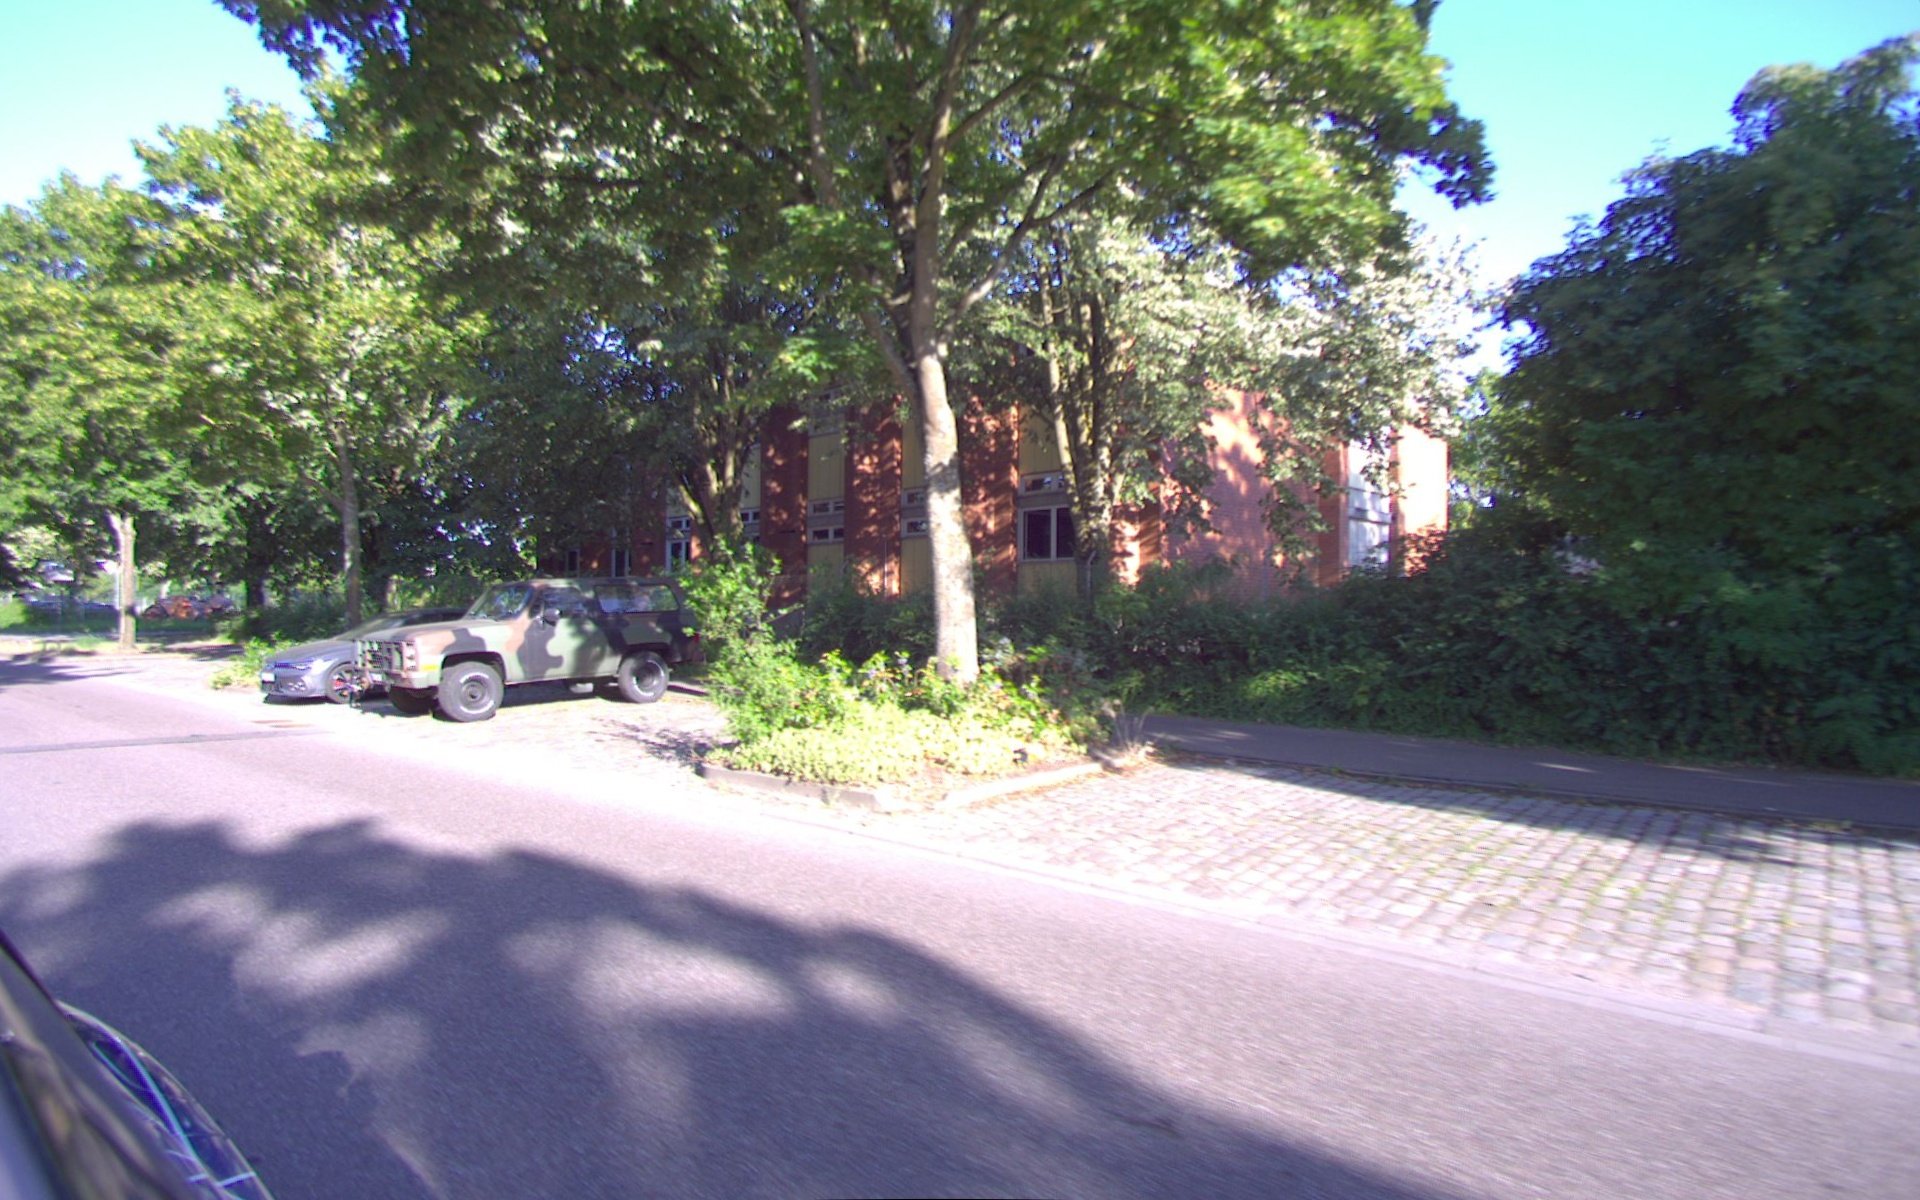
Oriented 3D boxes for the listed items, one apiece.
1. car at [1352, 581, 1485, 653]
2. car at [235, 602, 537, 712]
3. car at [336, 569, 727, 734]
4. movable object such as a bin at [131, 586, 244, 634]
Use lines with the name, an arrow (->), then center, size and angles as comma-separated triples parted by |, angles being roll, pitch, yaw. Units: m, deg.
car -> 12.597, 0.478, 27.738 | 3.936, 1.829, 1.789 | 1, -2, -40
car -> -9.679, 0.860, 17.387 | 1.702, 1.541, 4.175 | -1, 1, 36
car -> -6.224, 0.594, 15.241 | 2.173, 2.035, 4.954 | -1, 1, 40
movable object such as a bin -> -44.752, 0.599, 58.719 | 4.731, 2.685, 2.167 | 0, -1, -5
